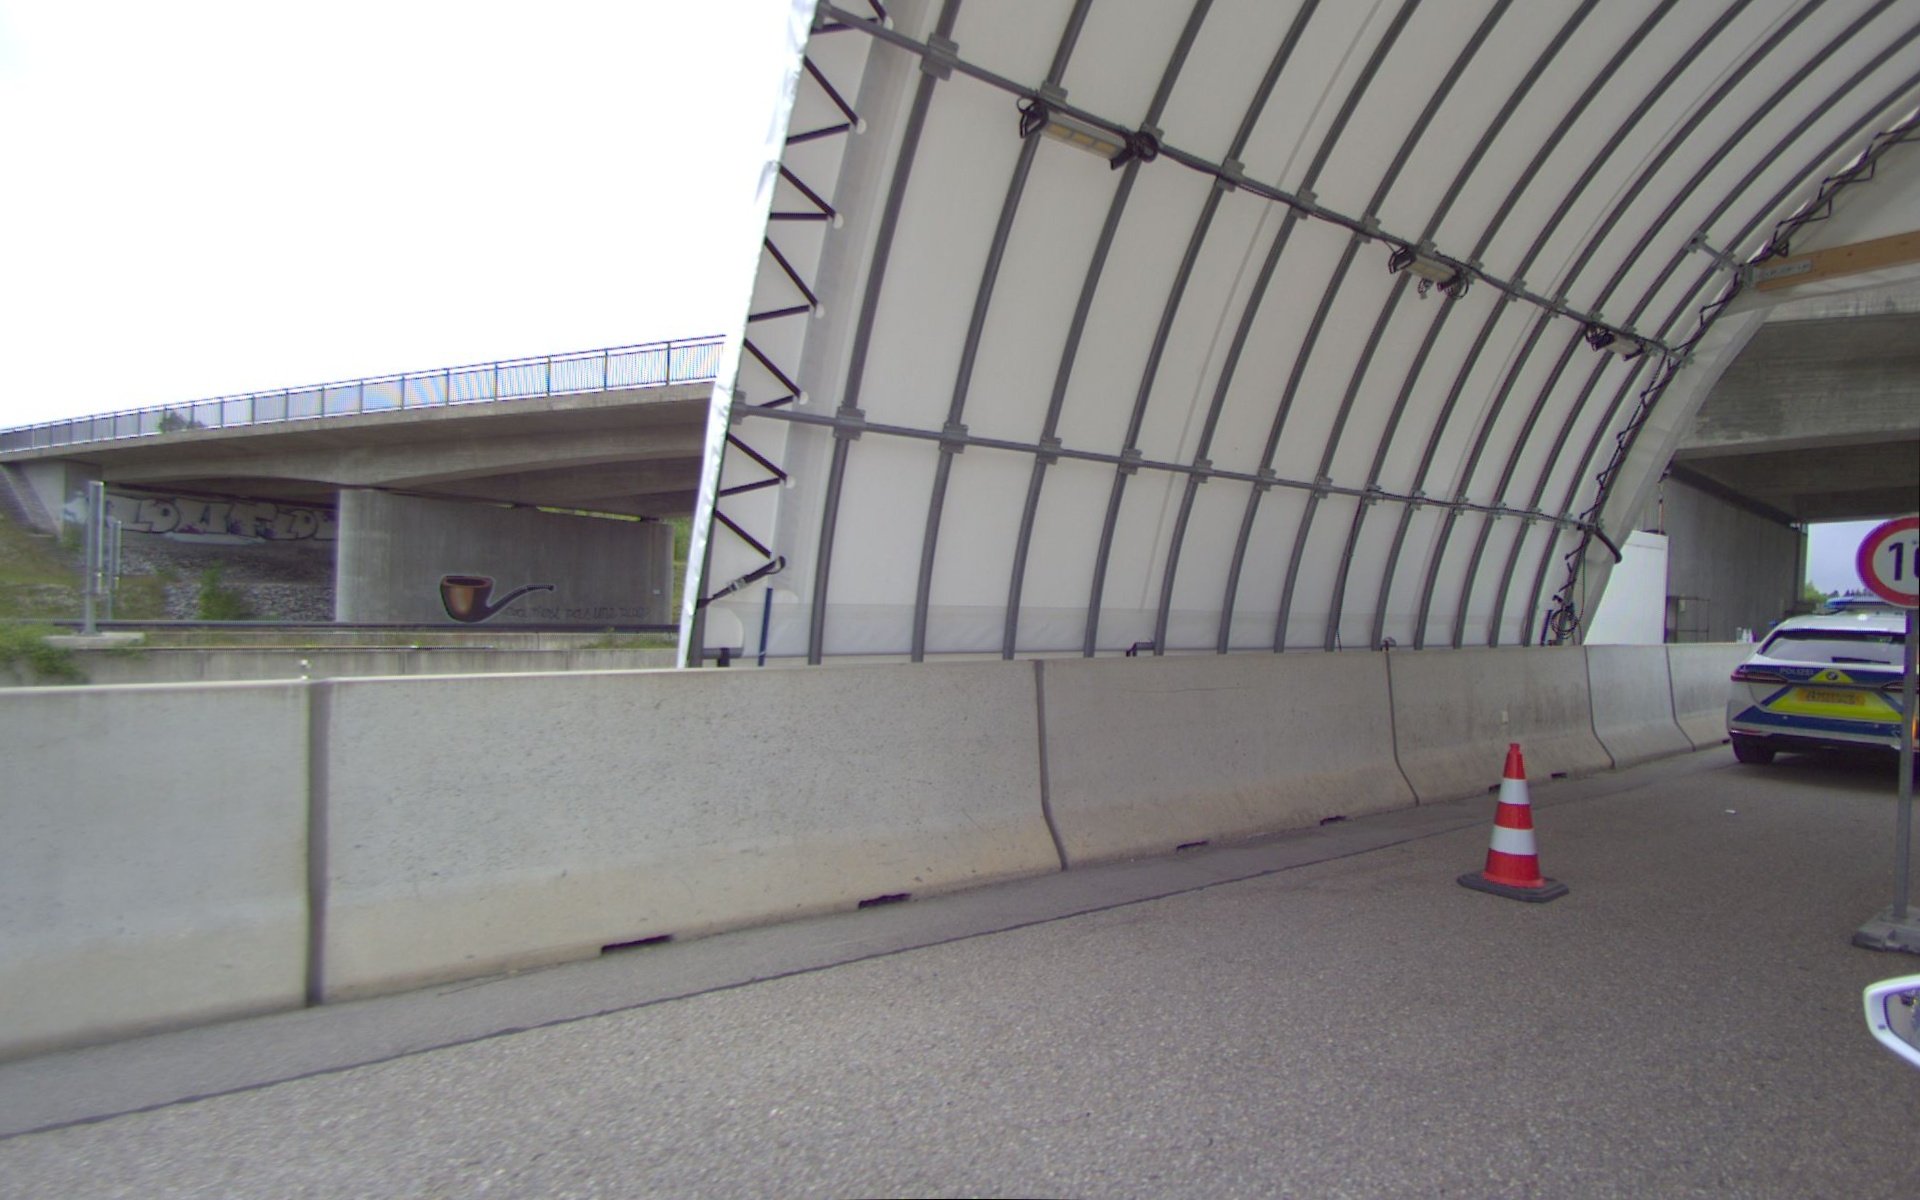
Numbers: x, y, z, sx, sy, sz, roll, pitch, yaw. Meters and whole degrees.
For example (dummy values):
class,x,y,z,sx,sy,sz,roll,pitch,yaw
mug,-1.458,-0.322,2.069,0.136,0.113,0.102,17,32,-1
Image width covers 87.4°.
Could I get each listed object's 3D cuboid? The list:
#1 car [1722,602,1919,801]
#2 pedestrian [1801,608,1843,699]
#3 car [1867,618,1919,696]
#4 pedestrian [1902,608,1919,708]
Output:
class,x,y,z,sx,sy,sz,roll,pitch,yaw
car,9.323,0.906,9.983,3.964,1.668,1.863,2,-2,-38
pedestrian,19.640,1.199,22.897,0.650,2.040,0.619,1,-1,-39
car,26.622,1.516,25.732,1.810,2.040,4.806,1,-1,-15
pedestrian,19.968,1.196,20.624,0.683,2.040,0.699,1,-1,-24
